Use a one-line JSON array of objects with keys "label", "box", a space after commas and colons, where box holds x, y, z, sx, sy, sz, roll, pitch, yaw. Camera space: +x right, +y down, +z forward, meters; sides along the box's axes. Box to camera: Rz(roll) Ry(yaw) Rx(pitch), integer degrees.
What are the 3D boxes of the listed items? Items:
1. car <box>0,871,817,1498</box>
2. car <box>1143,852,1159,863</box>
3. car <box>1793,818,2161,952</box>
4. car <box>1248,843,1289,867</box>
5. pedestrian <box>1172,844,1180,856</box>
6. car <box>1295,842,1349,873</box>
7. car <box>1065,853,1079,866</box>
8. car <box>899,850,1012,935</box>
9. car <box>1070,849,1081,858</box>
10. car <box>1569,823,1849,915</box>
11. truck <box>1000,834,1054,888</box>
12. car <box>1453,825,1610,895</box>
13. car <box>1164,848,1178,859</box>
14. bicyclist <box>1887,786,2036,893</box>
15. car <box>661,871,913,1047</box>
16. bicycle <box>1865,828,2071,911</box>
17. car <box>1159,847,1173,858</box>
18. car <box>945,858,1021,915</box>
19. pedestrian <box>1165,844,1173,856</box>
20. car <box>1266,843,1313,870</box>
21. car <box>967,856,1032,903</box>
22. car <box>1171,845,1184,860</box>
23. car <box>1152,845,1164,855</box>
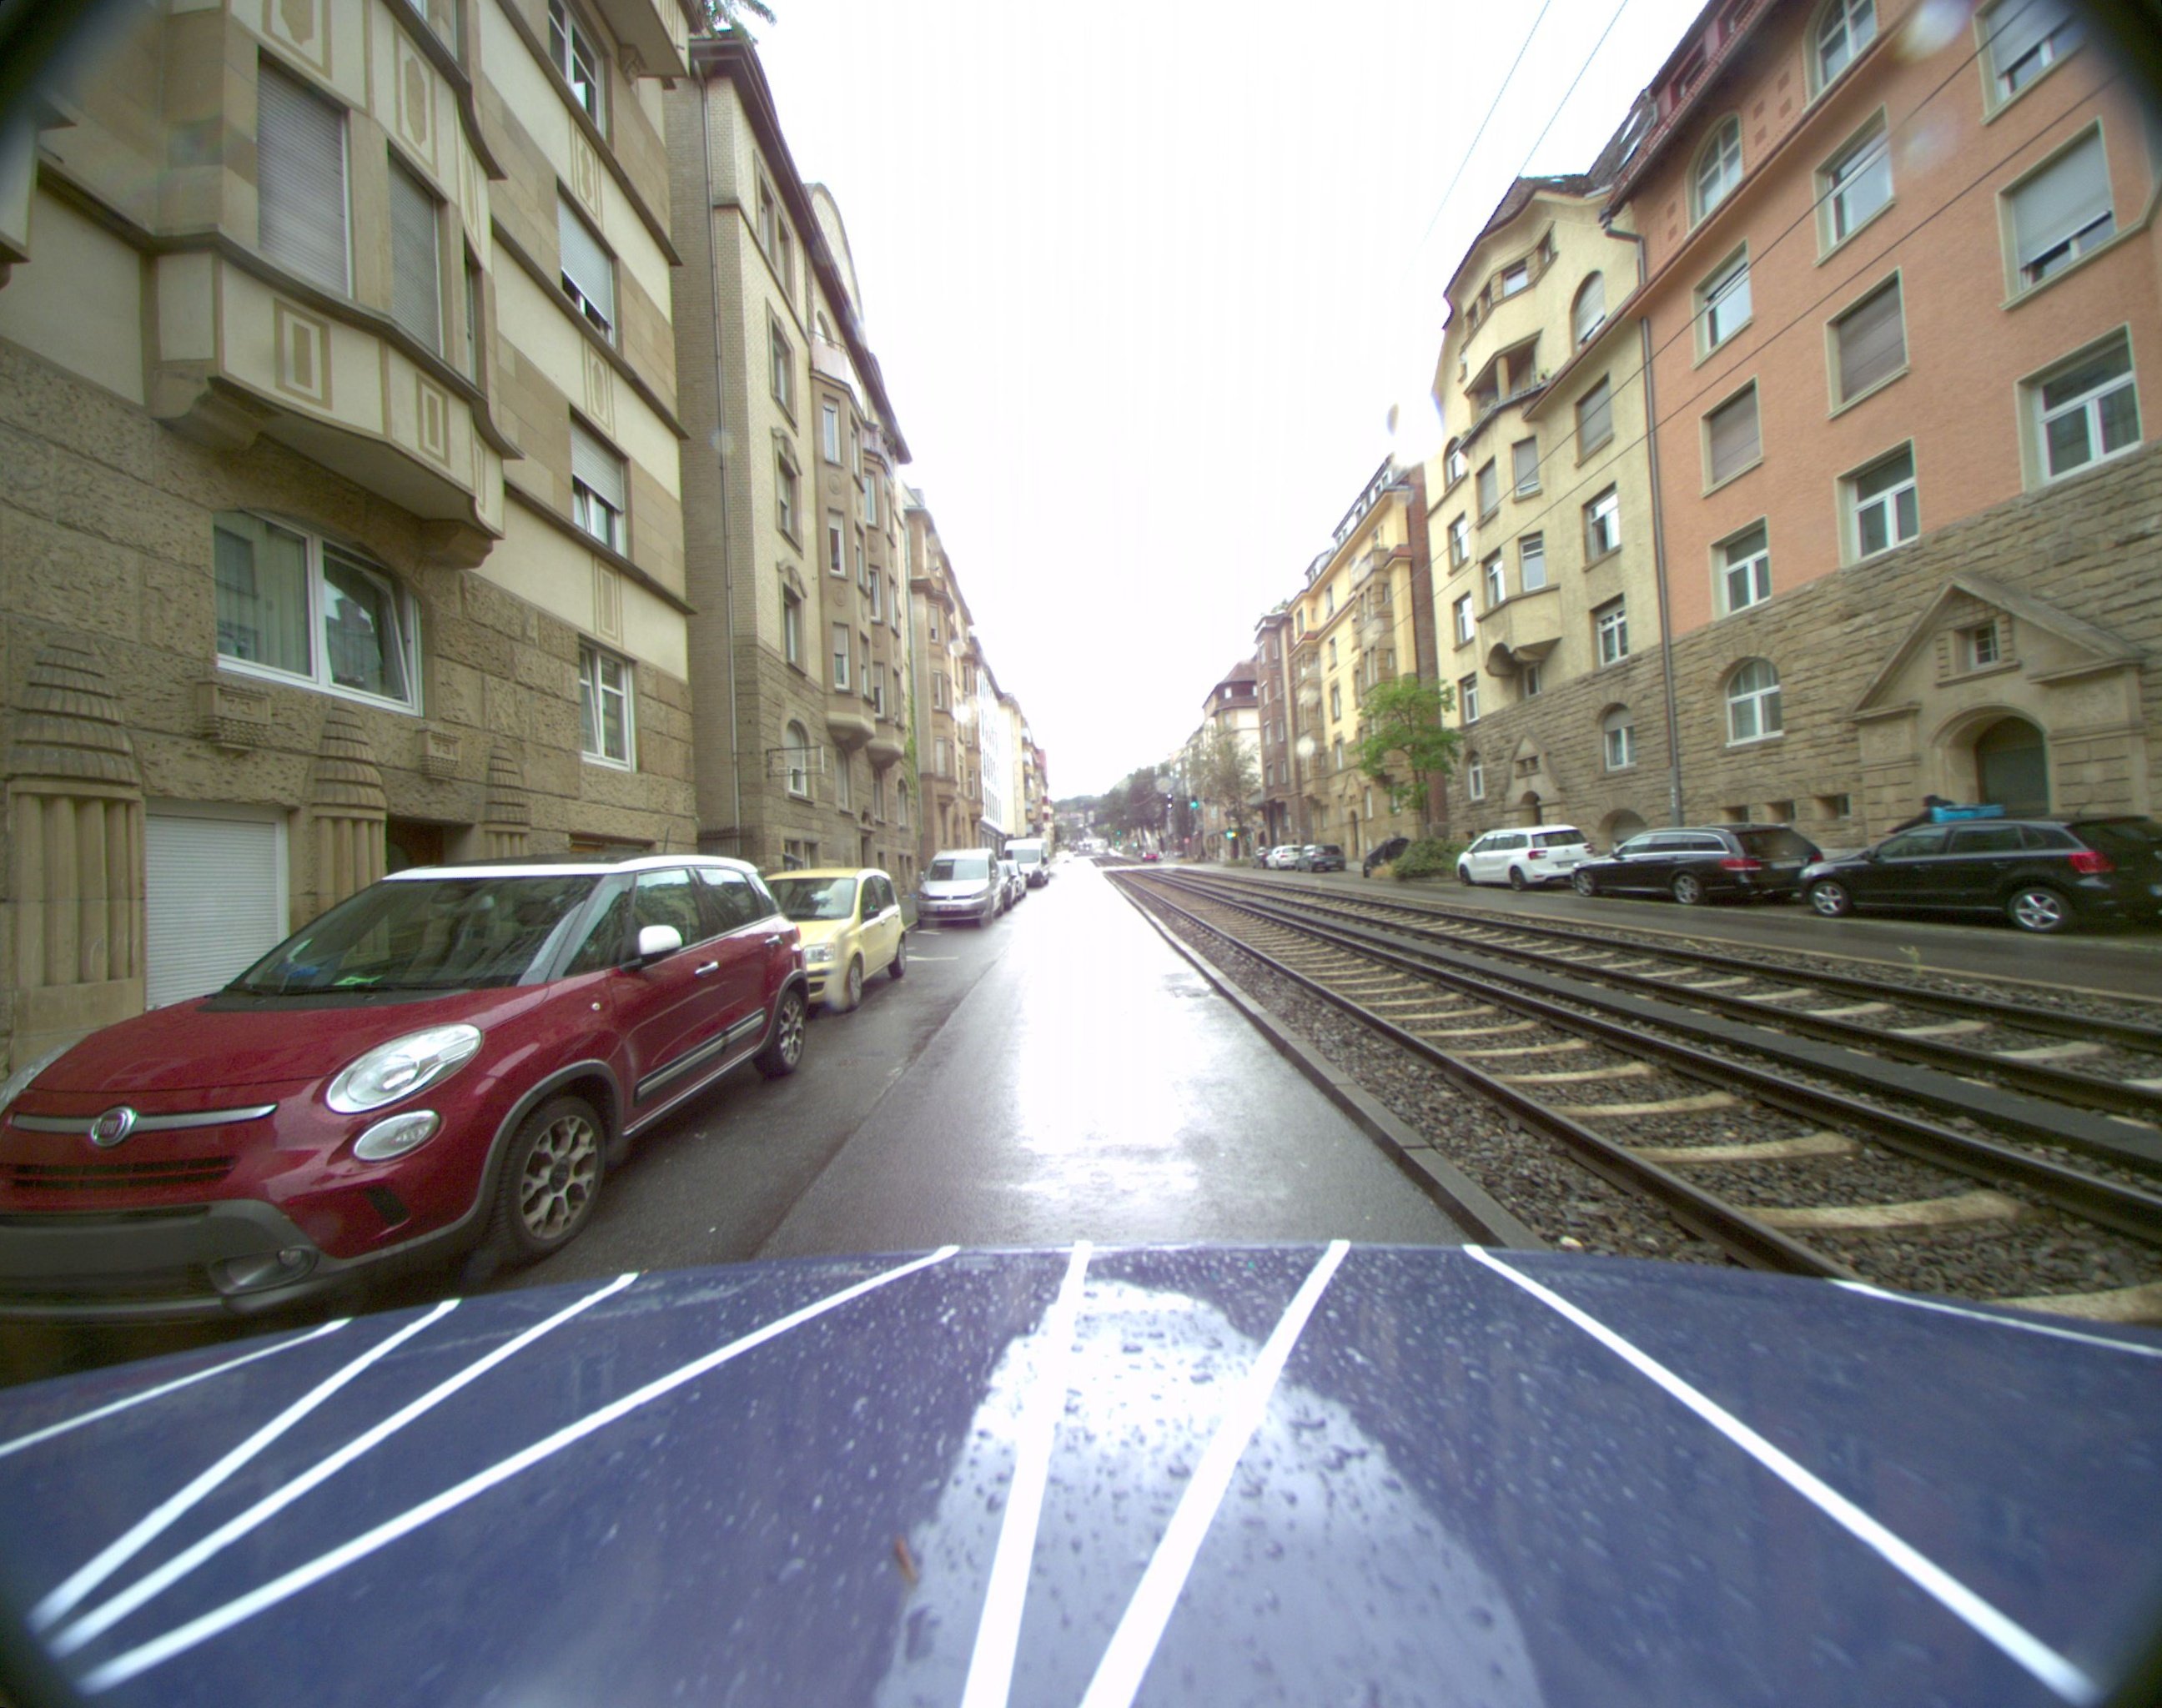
[{"label": "car", "box": [-3.036, 0.978, 4.086, 1.807, 1.590, 3.999, -3, 0, -1]}, {"label": "car", "box": [9.895, 0.506, 107.926, 1.807, 1.514, 4.964, -2, 0, 1]}, {"label": "car", "box": [12.526, 0.323, 10.461, 1.935, 1.488, 3.642, -2, 1, -2]}, {"label": "car", "box": [12.478, 0.078, 50.742, 1.771, 1.433, 3.845, -3, 0, 1]}, {"label": "pedestrian", "box": [15.810, -0.641, 126.287, 1.056, 1.946, 1.163, -3, 1, 2]}, {"label": "car", "box": [12.501, 0.141, 39.608, 1.678, 1.433, 3.845, -4, 1, 3]}, {"label": "car", "box": [-1.382, 0.870, 121.639, 1.998, 1.838, 4.000, -3, 0, 1]}, {"label": "car", "box": [-3.013, 0.850, 19.193, 1.968, 1.792, 4.459, -3, 0, 1]}, {"label": "car", "box": [-1.045, -0.061, 148.156, 1.998, 1.562, 4.000, -3, 0, 1]}, {"label": "car", "box": [12.288, 0.256, 15.378, 1.847, 1.486, 4.601, -3, 0, 1]}, {"label": "truck", "box": [-2.727, 0.346, 39.939, 2.235, 2.521, 6.143, -3, 0, 1]}, {"label": "car", "box": [12.270, 0.144, 21.041, 1.867, 1.646, 4.146, -3, 0, 1]}, {"label": "car", "box": [12.569, -0.076, 106.377, 1.583, 1.303, 3.845, -3, 0, 1]}, {"label": "bicyclist", "box": [14.133, -0.220, 12.243, 0.887, 1.588, 1.253, -3, 1, -3]}, {"label": "car", "box": [-3.192, 1.042, 9.035, 1.580, 1.520, 3.578, -3, 0, -1]}, {"label": "bicycle", "box": [14.157, 0.224, 12.237, 0.826, 1.179, 2.036, -3, 0, -5]}, {"label": "car", "box": [12.865, -0.264, 115.360, 1.771, 1.507, 3.845, -3, 0, 1]}, {"label": "car", "box": [-2.967, 0.941, 23.810, 1.999, 1.521, 3.999, -3, 0, -3]}, {"label": "pedestrian", "box": [14.664, -0.601, 126.293, 1.056, 1.946, 1.163, -3, 1, 2]}, {"label": "car", "box": [12.468, 0.131, 45.648, 1.771, 1.433, 4.031, -3, 0, 2]}, {"label": "car", "box": [-2.956, 0.884, 28.310, 1.891, 1.521, 3.929, -3, 0, 1]}, {"label": "car", "box": [12.668, -0.223, 99.540, 1.583, 1.669, 3.790, -3, 2, 7]}, {"label": "car", "box": [12.834, -0.620, 126.830, 1.657, 1.589, 3.775, -3, 0, 1]}]
